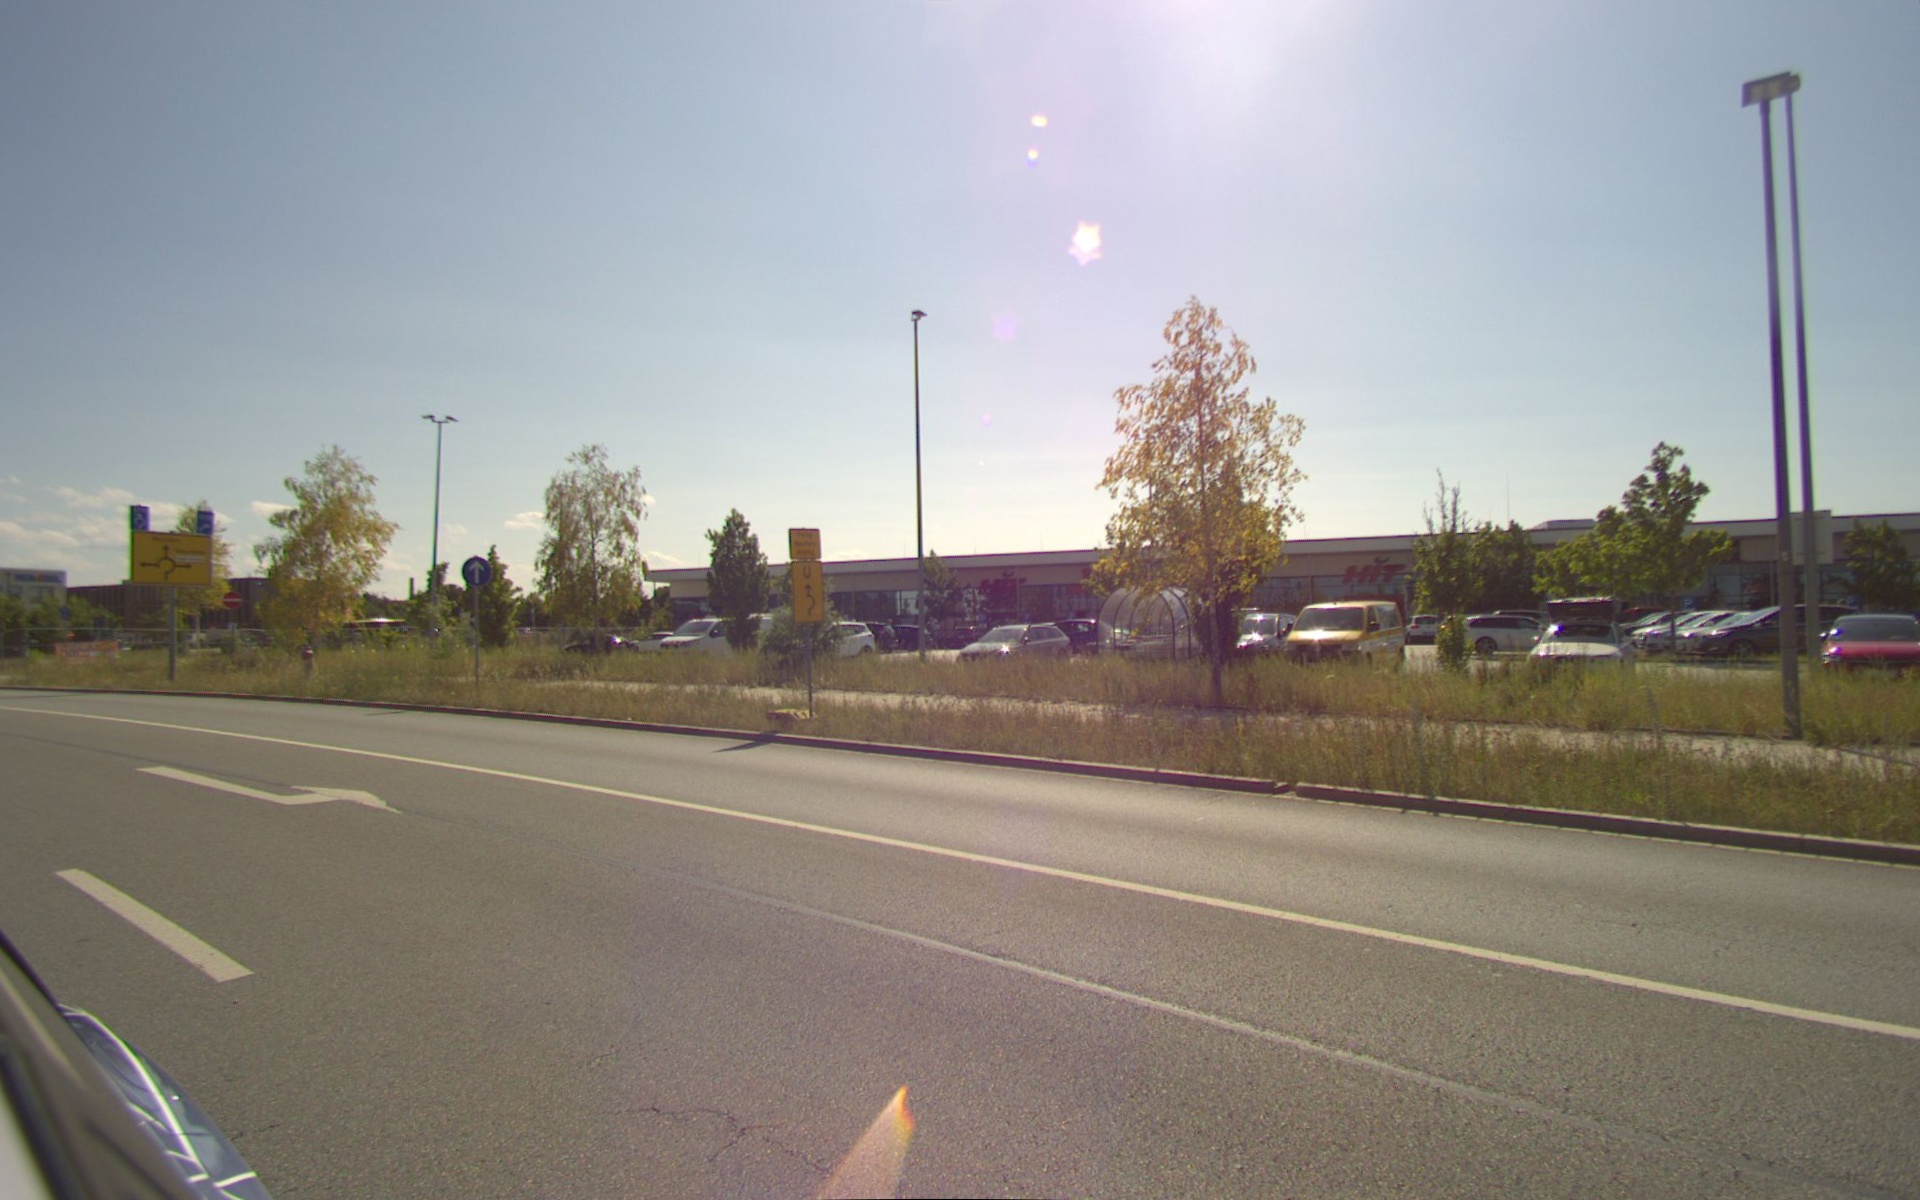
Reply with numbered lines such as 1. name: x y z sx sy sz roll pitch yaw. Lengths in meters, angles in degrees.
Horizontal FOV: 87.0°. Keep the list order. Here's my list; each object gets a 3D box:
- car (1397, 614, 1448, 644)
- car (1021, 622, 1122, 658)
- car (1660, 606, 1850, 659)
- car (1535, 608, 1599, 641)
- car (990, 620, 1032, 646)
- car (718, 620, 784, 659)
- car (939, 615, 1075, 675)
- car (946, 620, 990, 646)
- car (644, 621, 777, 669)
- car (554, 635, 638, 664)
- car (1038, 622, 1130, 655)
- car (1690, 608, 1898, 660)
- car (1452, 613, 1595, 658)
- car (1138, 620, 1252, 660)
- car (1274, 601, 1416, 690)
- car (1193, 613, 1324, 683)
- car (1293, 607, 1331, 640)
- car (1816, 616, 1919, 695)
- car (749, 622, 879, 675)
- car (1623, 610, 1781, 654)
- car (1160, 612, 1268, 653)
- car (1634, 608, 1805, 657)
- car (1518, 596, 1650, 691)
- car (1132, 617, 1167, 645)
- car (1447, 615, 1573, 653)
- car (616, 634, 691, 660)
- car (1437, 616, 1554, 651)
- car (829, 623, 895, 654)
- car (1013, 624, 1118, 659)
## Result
1. car: 25.249 1.575 55.367 1.818 1.536 4.332 -1 -2 15
2. car: 4.983 1.791 45.236 4.210 1.528 1.705 -2 -2 22
3. car: 24.969 1.045 31.974 4.322 1.561 1.705 -2 -2 21
4. car: 31.901 1.318 53.310 1.701 1.638 4.332 -1 -2 15
5. car: 3.249 2.068 63.867 1.701 1.531 4.332 -1 -2 15
6. car: -14.530 2.702 70.675 1.924 2.607 5.683 -2 -2 18
7. car: 1.520 1.326 30.785 1.995 1.685 4.661 -2 -2 34
8. car: 0.531 2.101 64.261 1.701 1.576 4.332 -1 -2 15
9. car: -9.245 1.647 37.996 1.990 1.685 5.148 -2 -2 27
10. car: -22.367 3.032 62.173 4.380 1.701 2.271 -1 -2 16
11. car: 6.231 1.928 50.844 4.324 1.599 1.705 -2 -2 22
12. car: 24.274 0.998 29.650 4.322 1.428 1.705 -2 -2 21
13. car: 20.532 1.316 37.073 4.326 1.538 1.704 -2 -2 23
14. car: 9.520 1.621 40.966 4.321 1.538 1.706 -2 -2 19
15. car: 9.811 1.080 25.487 1.995 1.980 5.632 -2 -2 35
16. car: 7.932 1.207 26.628 1.878 1.685 4.726 -2 -2 35
17. car: 20.309 1.377 58.487 1.701 1.821 4.332 -1 -2 15
18. car: 17.593 1.000 19.232 1.935 1.358 4.101 -2 -2 41
19. car: -4.976 1.644 35.077 1.994 1.685 4.553 -2 -2 33
20. car: 27.187 1.183 37.258 4.322 1.544 1.705 -2 -2 21
21. car: 11.545 1.503 46.017 4.555 1.754 1.704 -2 -2 24
22. car: 26.058 1.138 34.900 4.322 1.584 1.705 -2 -2 21
23. car: 13.813 0.915 22.308 1.930 1.875 4.103 -2 -2 39
24. car: 11.372 1.851 60.610 1.701 1.561 4.332 -1 -2 15
25. car: 22.436 1.404 41.493 4.326 1.489 1.704 -2 -2 23
26. car: -20.538 3.158 67.928 4.537 1.701 1.965 -1 -2 18
27. car: 23.400 1.482 44.383 4.326 1.428 1.704 -2 -2 23
28. car: -5.075 2.008 53.091 1.831 1.564 3.971 -2 -2 22
29. car: 4.467 1.748 42.691 4.112 1.436 1.705 -2 -2 22
